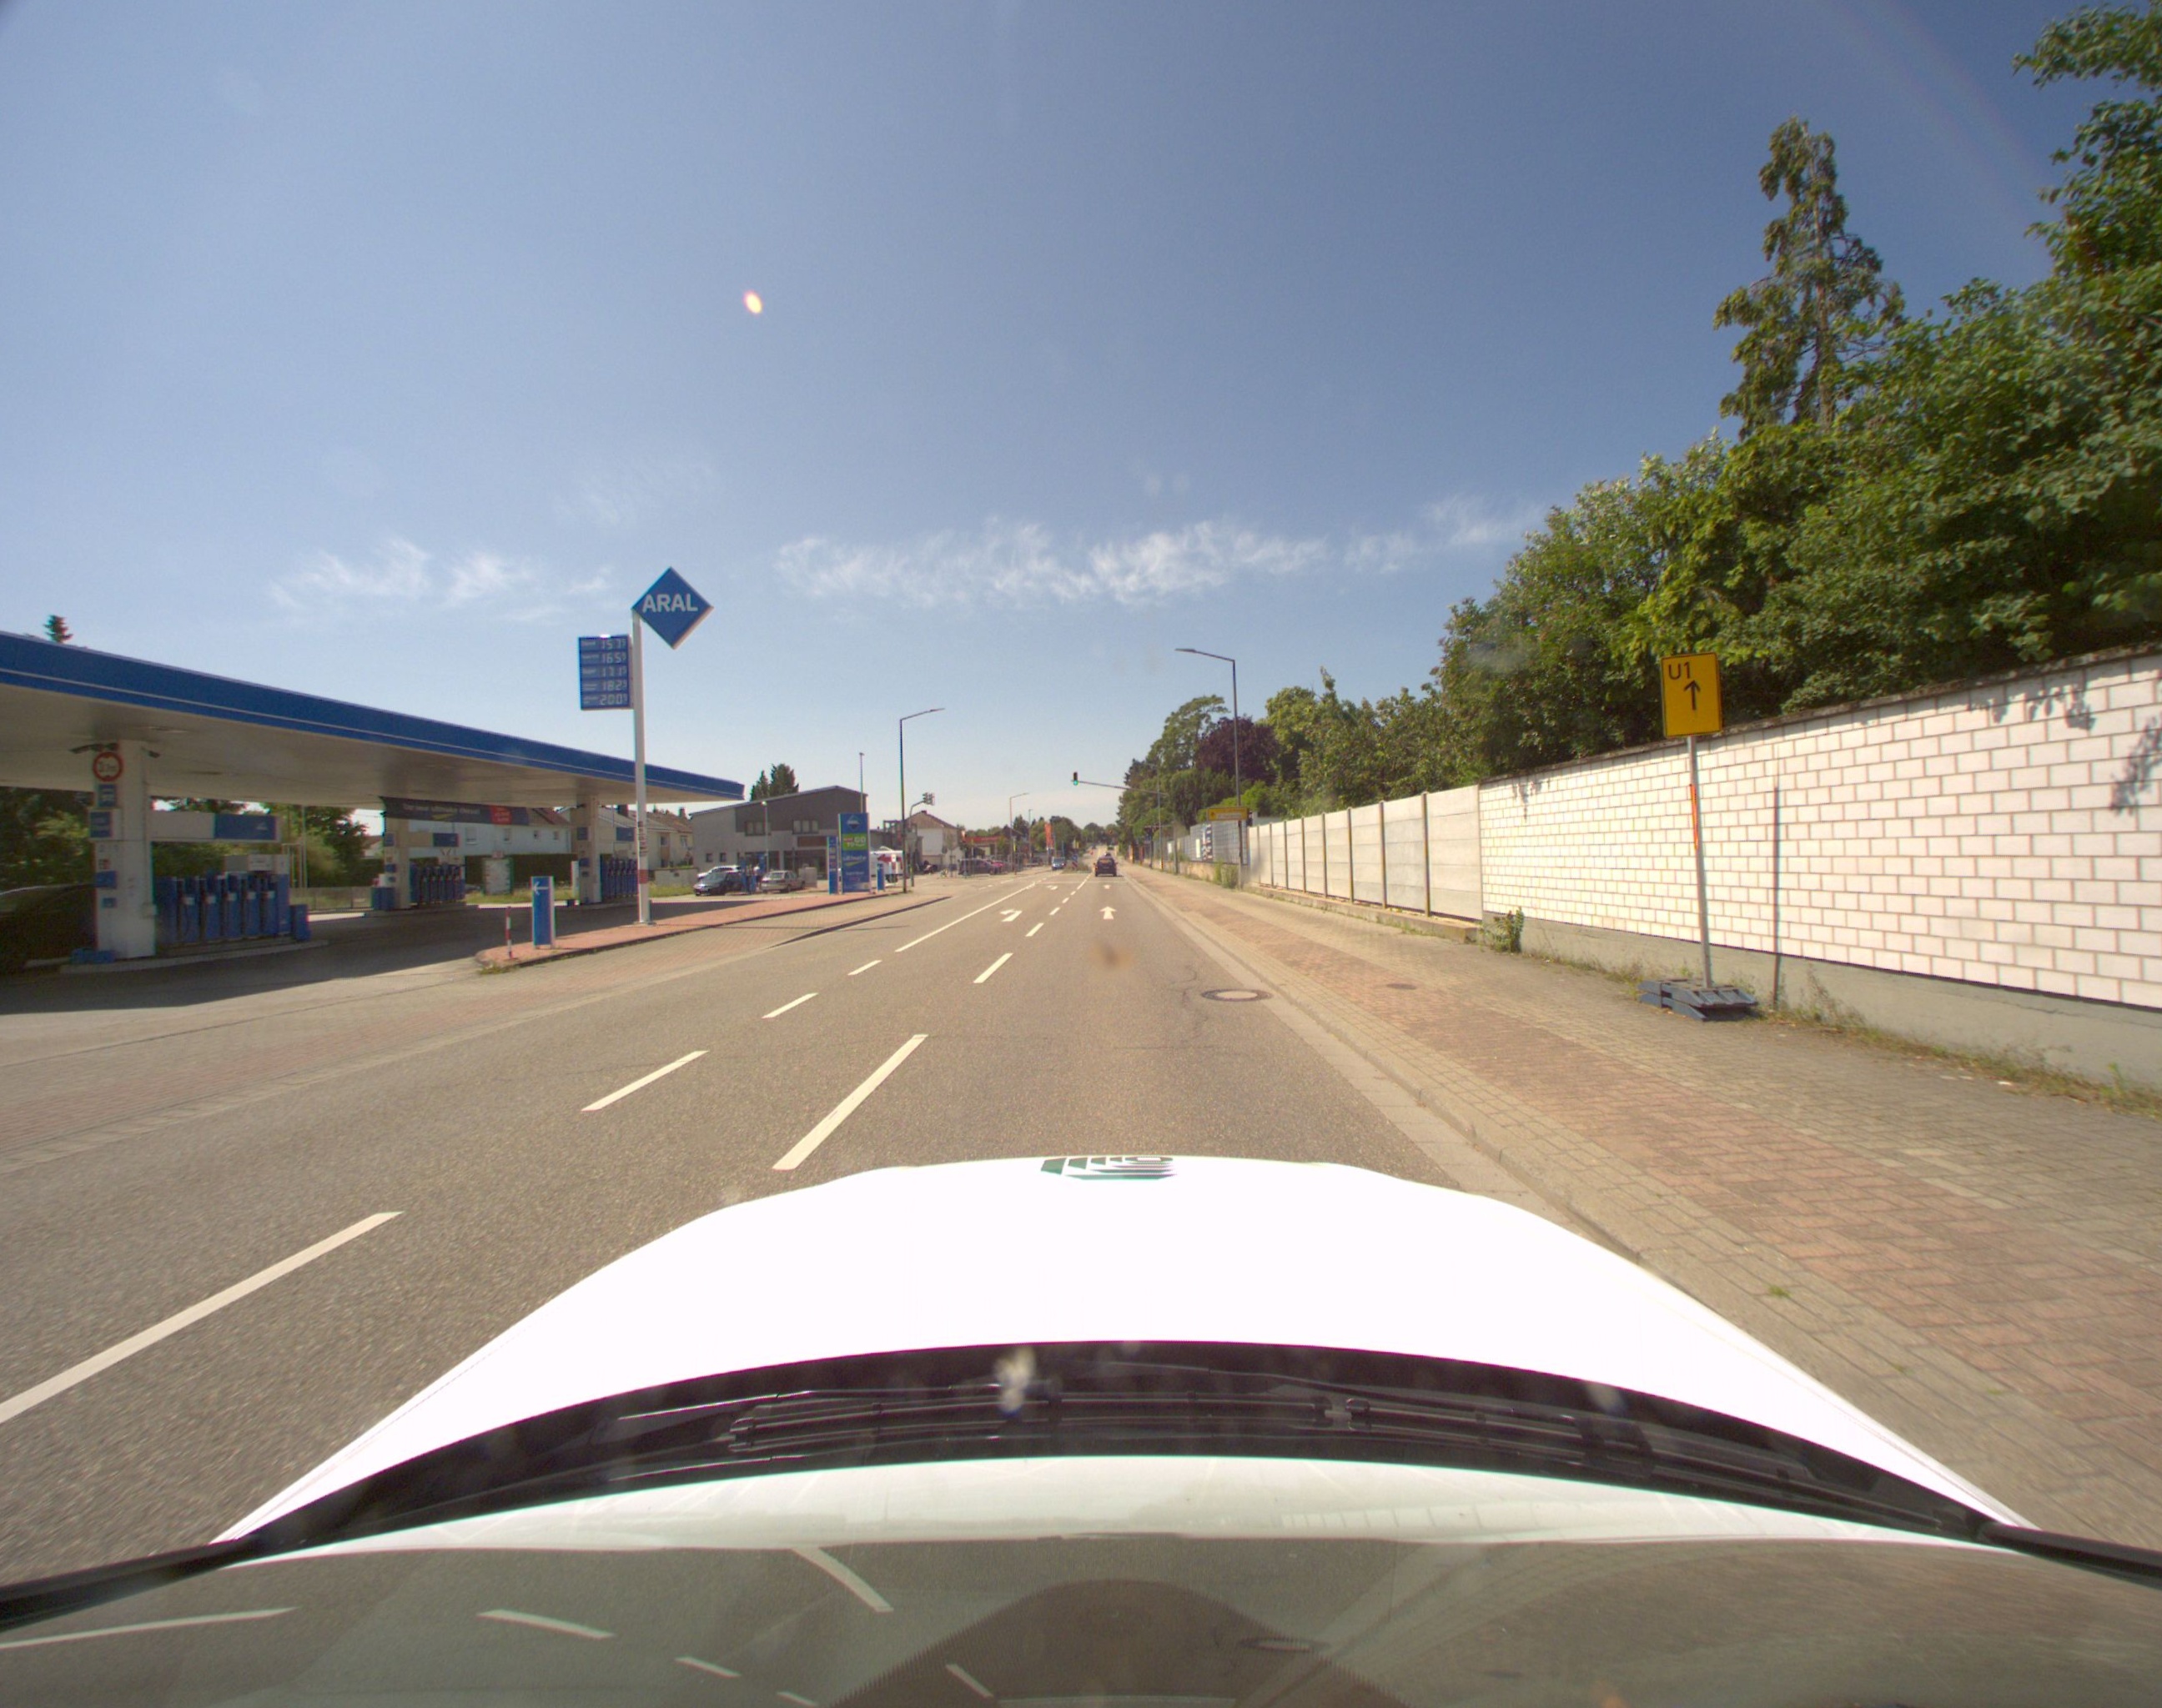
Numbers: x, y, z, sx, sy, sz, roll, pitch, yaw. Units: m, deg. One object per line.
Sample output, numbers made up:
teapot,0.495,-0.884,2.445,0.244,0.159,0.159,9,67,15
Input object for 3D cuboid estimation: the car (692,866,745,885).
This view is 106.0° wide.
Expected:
car,-32.169,1.866,72.358,3.977,1.508,1.553,-2,0,-3

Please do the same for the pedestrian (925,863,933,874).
pedestrian,-18.025,1.690,96.615,0.606,1.261,0.760,-2,0,28

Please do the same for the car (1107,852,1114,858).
car,7.179,0.306,201.427,1.659,1.455,3.473,-2,0,1

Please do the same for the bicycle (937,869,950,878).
bicycle,-12.408,1.764,73.643,0.610,0.793,2.575,-2,0,1

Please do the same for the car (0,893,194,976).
car,-20.841,1.593,16.315,1.664,1.381,4.001,-2,0,1

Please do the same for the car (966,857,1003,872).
car,-10.697,1.184,90.462,3.977,1.508,1.553,-2,0,-3

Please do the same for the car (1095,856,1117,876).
car,1.901,0.918,62.295,1.659,1.455,3.473,-2,0,1

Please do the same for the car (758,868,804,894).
car,-19.284,1.715,52.475,1.613,1.420,3.707,-3,0,-3

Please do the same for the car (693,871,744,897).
car,-23.034,1.885,51.869,1.613,1.420,3.707,-3,0,-3

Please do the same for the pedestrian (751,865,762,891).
pedestrian,-21.302,1.567,53.445,0.613,1.691,0.703,-2,0,-25

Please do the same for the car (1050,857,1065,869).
car,-2.908,1.060,100.461,1.581,1.393,3.473,-2,0,1

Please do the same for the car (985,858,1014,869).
car,-11.757,1.369,118.035,3.977,1.508,1.553,-2,0,-3

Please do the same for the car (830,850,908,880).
car,-17.088,0.882,65.868,5.928,2.423,1.993,0,-2,-10

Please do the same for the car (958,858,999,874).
car,-10.435,1.181,82.846,3.977,1.508,1.553,-2,0,-3
